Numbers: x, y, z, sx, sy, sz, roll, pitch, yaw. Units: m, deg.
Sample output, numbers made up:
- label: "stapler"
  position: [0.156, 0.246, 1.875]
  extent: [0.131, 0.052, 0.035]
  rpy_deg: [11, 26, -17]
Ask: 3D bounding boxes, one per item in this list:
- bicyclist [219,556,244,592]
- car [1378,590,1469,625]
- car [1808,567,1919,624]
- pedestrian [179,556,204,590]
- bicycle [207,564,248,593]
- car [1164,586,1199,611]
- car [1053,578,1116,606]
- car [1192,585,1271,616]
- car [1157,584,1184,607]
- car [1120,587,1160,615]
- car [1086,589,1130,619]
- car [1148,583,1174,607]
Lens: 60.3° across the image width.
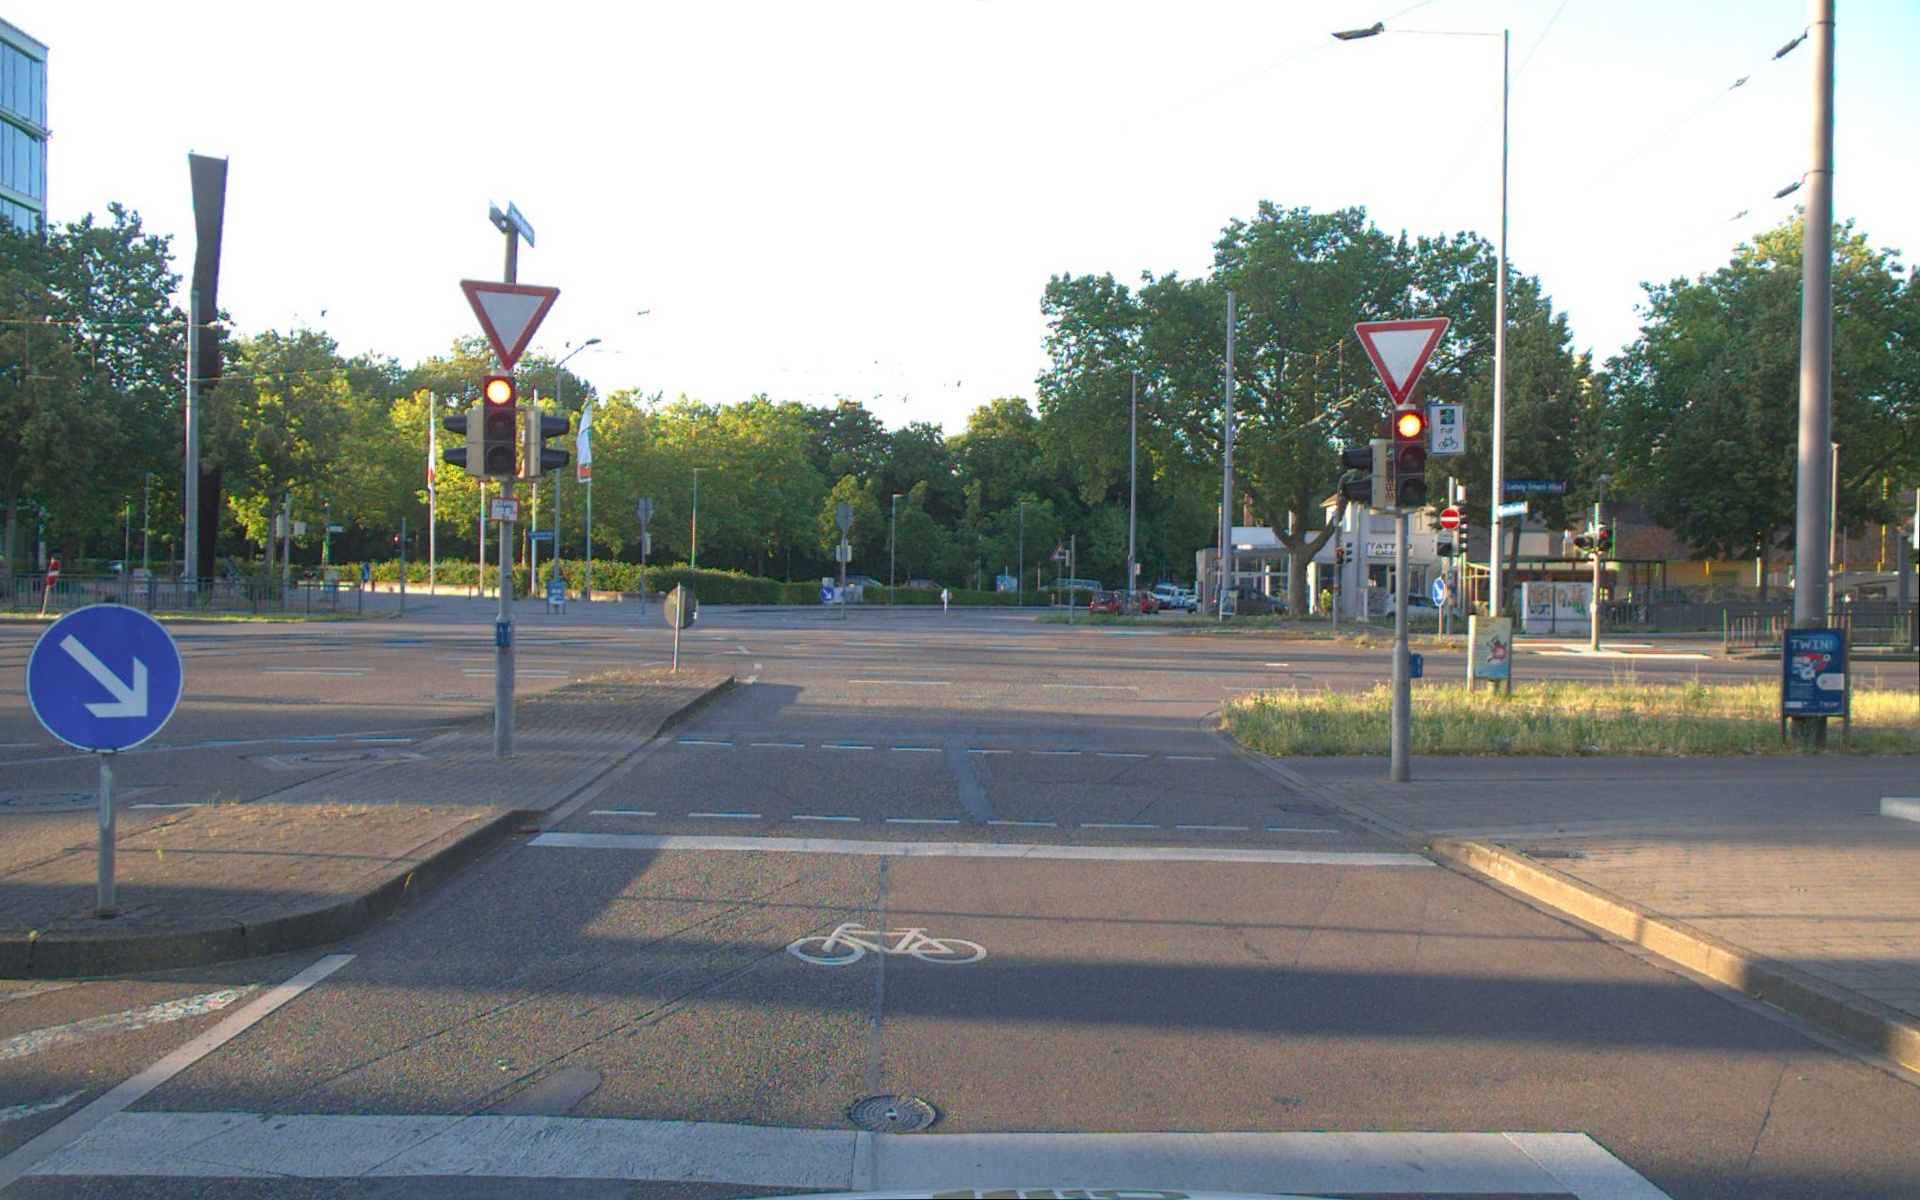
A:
- label: "bicyclist"
  position: [-35.119, -1.257, 79.729]
  extent: [0.903, 1.739, 0.749]
  rpy_deg: [1, 0, 40]
- label: "car"
  position: [20.296, 0.321, 72.496]
  extent: [3.659, 1.465, 1.665]
  rpy_deg: [1, -1, 9]
- label: "car"
  position: [43.683, -0.215, 78.671]
  extent: [5.476, 2.596, 2.231]
  rpy_deg: [1, 0, 7]
- label: "pedestrian"
  position: [-41.049, -1.443, 88.363]
  extent: [0.843, 1.774, 0.829]
  rpy_deg: [1, 0, 28]
- label: "bicycle"
  position: [-35.394, -1.058, 79.915]
  extent: [2.640, 1.364, 0.728]
  rpy_deg: [1, 1, 40]
- label: "car"
  position: [15.522, -0.061, 115.824]
  extent: [1.951, 1.691, 4.003]
  rpy_deg: [0, -1, 14]
- label: "car"
  position: [9.474, -0.591, 126.016]
  extent: [4.675, 2.041, 2.000]
  rpy_deg: [1, -1, 1]
- label: "car"
  position: [14.625, 0.033, 89.379]
  extent: [4.129, 1.579, 2.001]
  rpy_deg: [1, -1, 7]
- label: "car"
  position: [17.371, -0.353, 136.343]
  extent: [1.823, 1.825, 4.003]
  rpy_deg: [1, -1, 12]
- label: "car"
  position: [11.288, 0.098, 103.532]
  extent: [1.951, 1.691, 4.003]
  rpy_deg: [0, -1, 14]
- label: "car"
  position: [8.591, 0.225, 95.802]
  extent: [1.951, 1.691, 4.003]
  rpy_deg: [0, -1, 14]
- label: "car"
  position: [15.963, -0.363, 131.427]
  extent: [1.823, 1.825, 4.003]
  rpy_deg: [1, -1, 10]
